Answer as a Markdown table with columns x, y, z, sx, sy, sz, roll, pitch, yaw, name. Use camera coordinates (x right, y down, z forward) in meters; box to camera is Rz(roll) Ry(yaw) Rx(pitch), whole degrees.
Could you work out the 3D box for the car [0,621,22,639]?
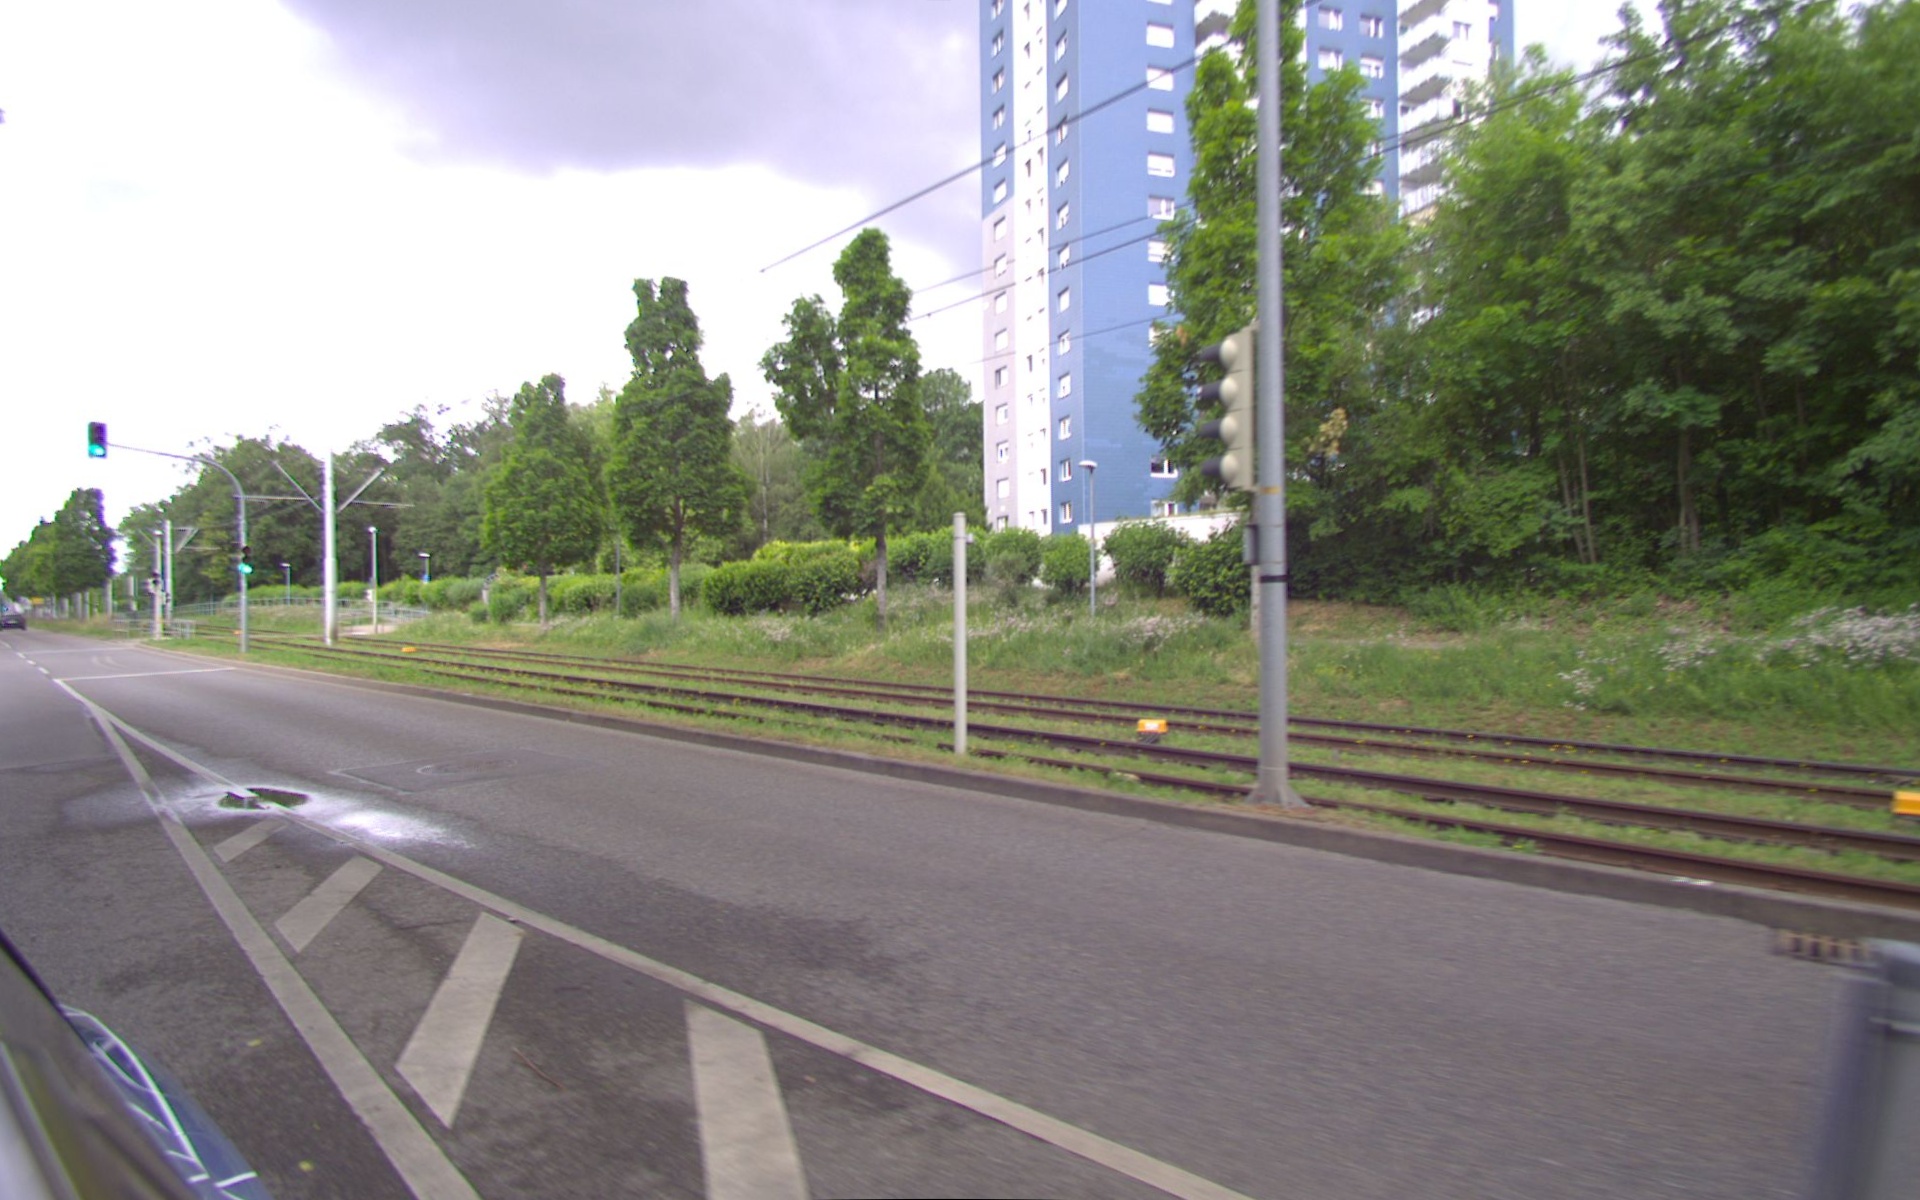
| x | y | z | sx | sy | sz | roll | pitch | yaw | name |
| --- | --- | --- | --- | --- | --- | --- | --- | --- | --- |
| -80.900 | 2.544 | 85.816 | 1.829 | 1.481 | 4.258 | -1 | 0 | -45 | car |
